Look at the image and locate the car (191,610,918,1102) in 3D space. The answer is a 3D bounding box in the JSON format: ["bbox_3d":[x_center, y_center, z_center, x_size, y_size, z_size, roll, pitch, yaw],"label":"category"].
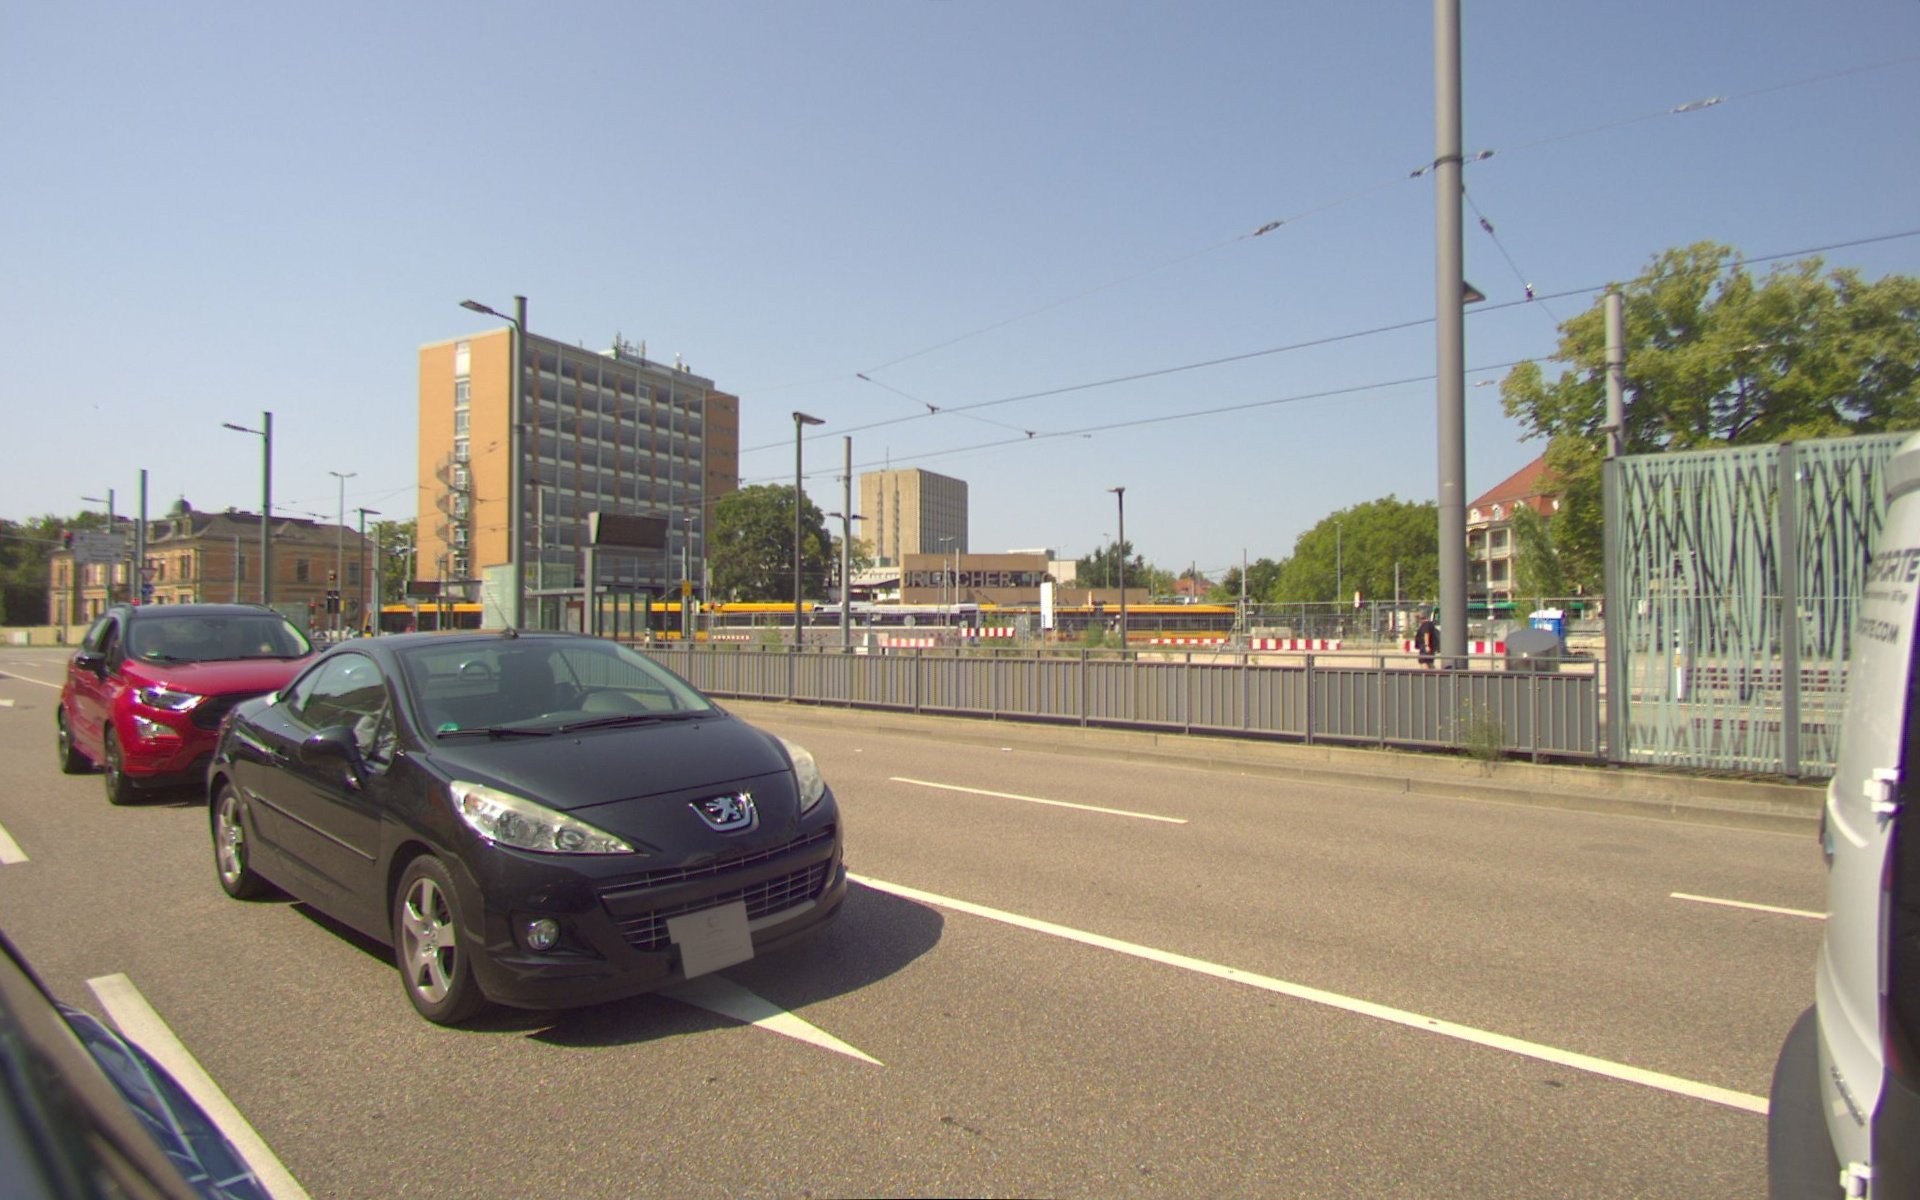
[{"bbox_3d":[-2.160,0.793,4.847,3.799,1.424,1.671,-2,-1,41],"label":"car"}]

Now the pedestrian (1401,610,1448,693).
[{"bbox_3d":[10.410,1.148,22.696,0.761,1.801,0.736,-2,-3,41],"label":"pedestrian"}]

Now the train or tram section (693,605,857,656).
[{"bbox_3d":[-14.039,2.321,77.550,12.179,3.794,2.002,0,-2,-5],"label":"train or tram section"}]

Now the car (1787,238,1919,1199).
[{"bbox_3d":[3.194,0.452,0.500,4.237,1.834,1.729,-2,-1,41],"label":"car"}]

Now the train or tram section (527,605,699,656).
[{"bbox_3d":[-26.128,2.335,76.555,12.179,3.794,2.002,0,-2,-5],"label":"train or tram section"}]

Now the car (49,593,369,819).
[{"bbox_3d":[-6.983,0.806,9.254,3.967,1.633,1.613,-2,-1,42],"label":"car"}]

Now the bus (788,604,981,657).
[{"bbox_3d":[-5.298,2.088,71.429,13.204,3.319,3.355,-1,-1,-5],"label":"bus"}]

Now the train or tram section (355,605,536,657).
[{"bbox_3d":[-38.280,2.301,75.556,12.179,3.794,2.002,0,-2,-5],"label":"train or tram section"}]
